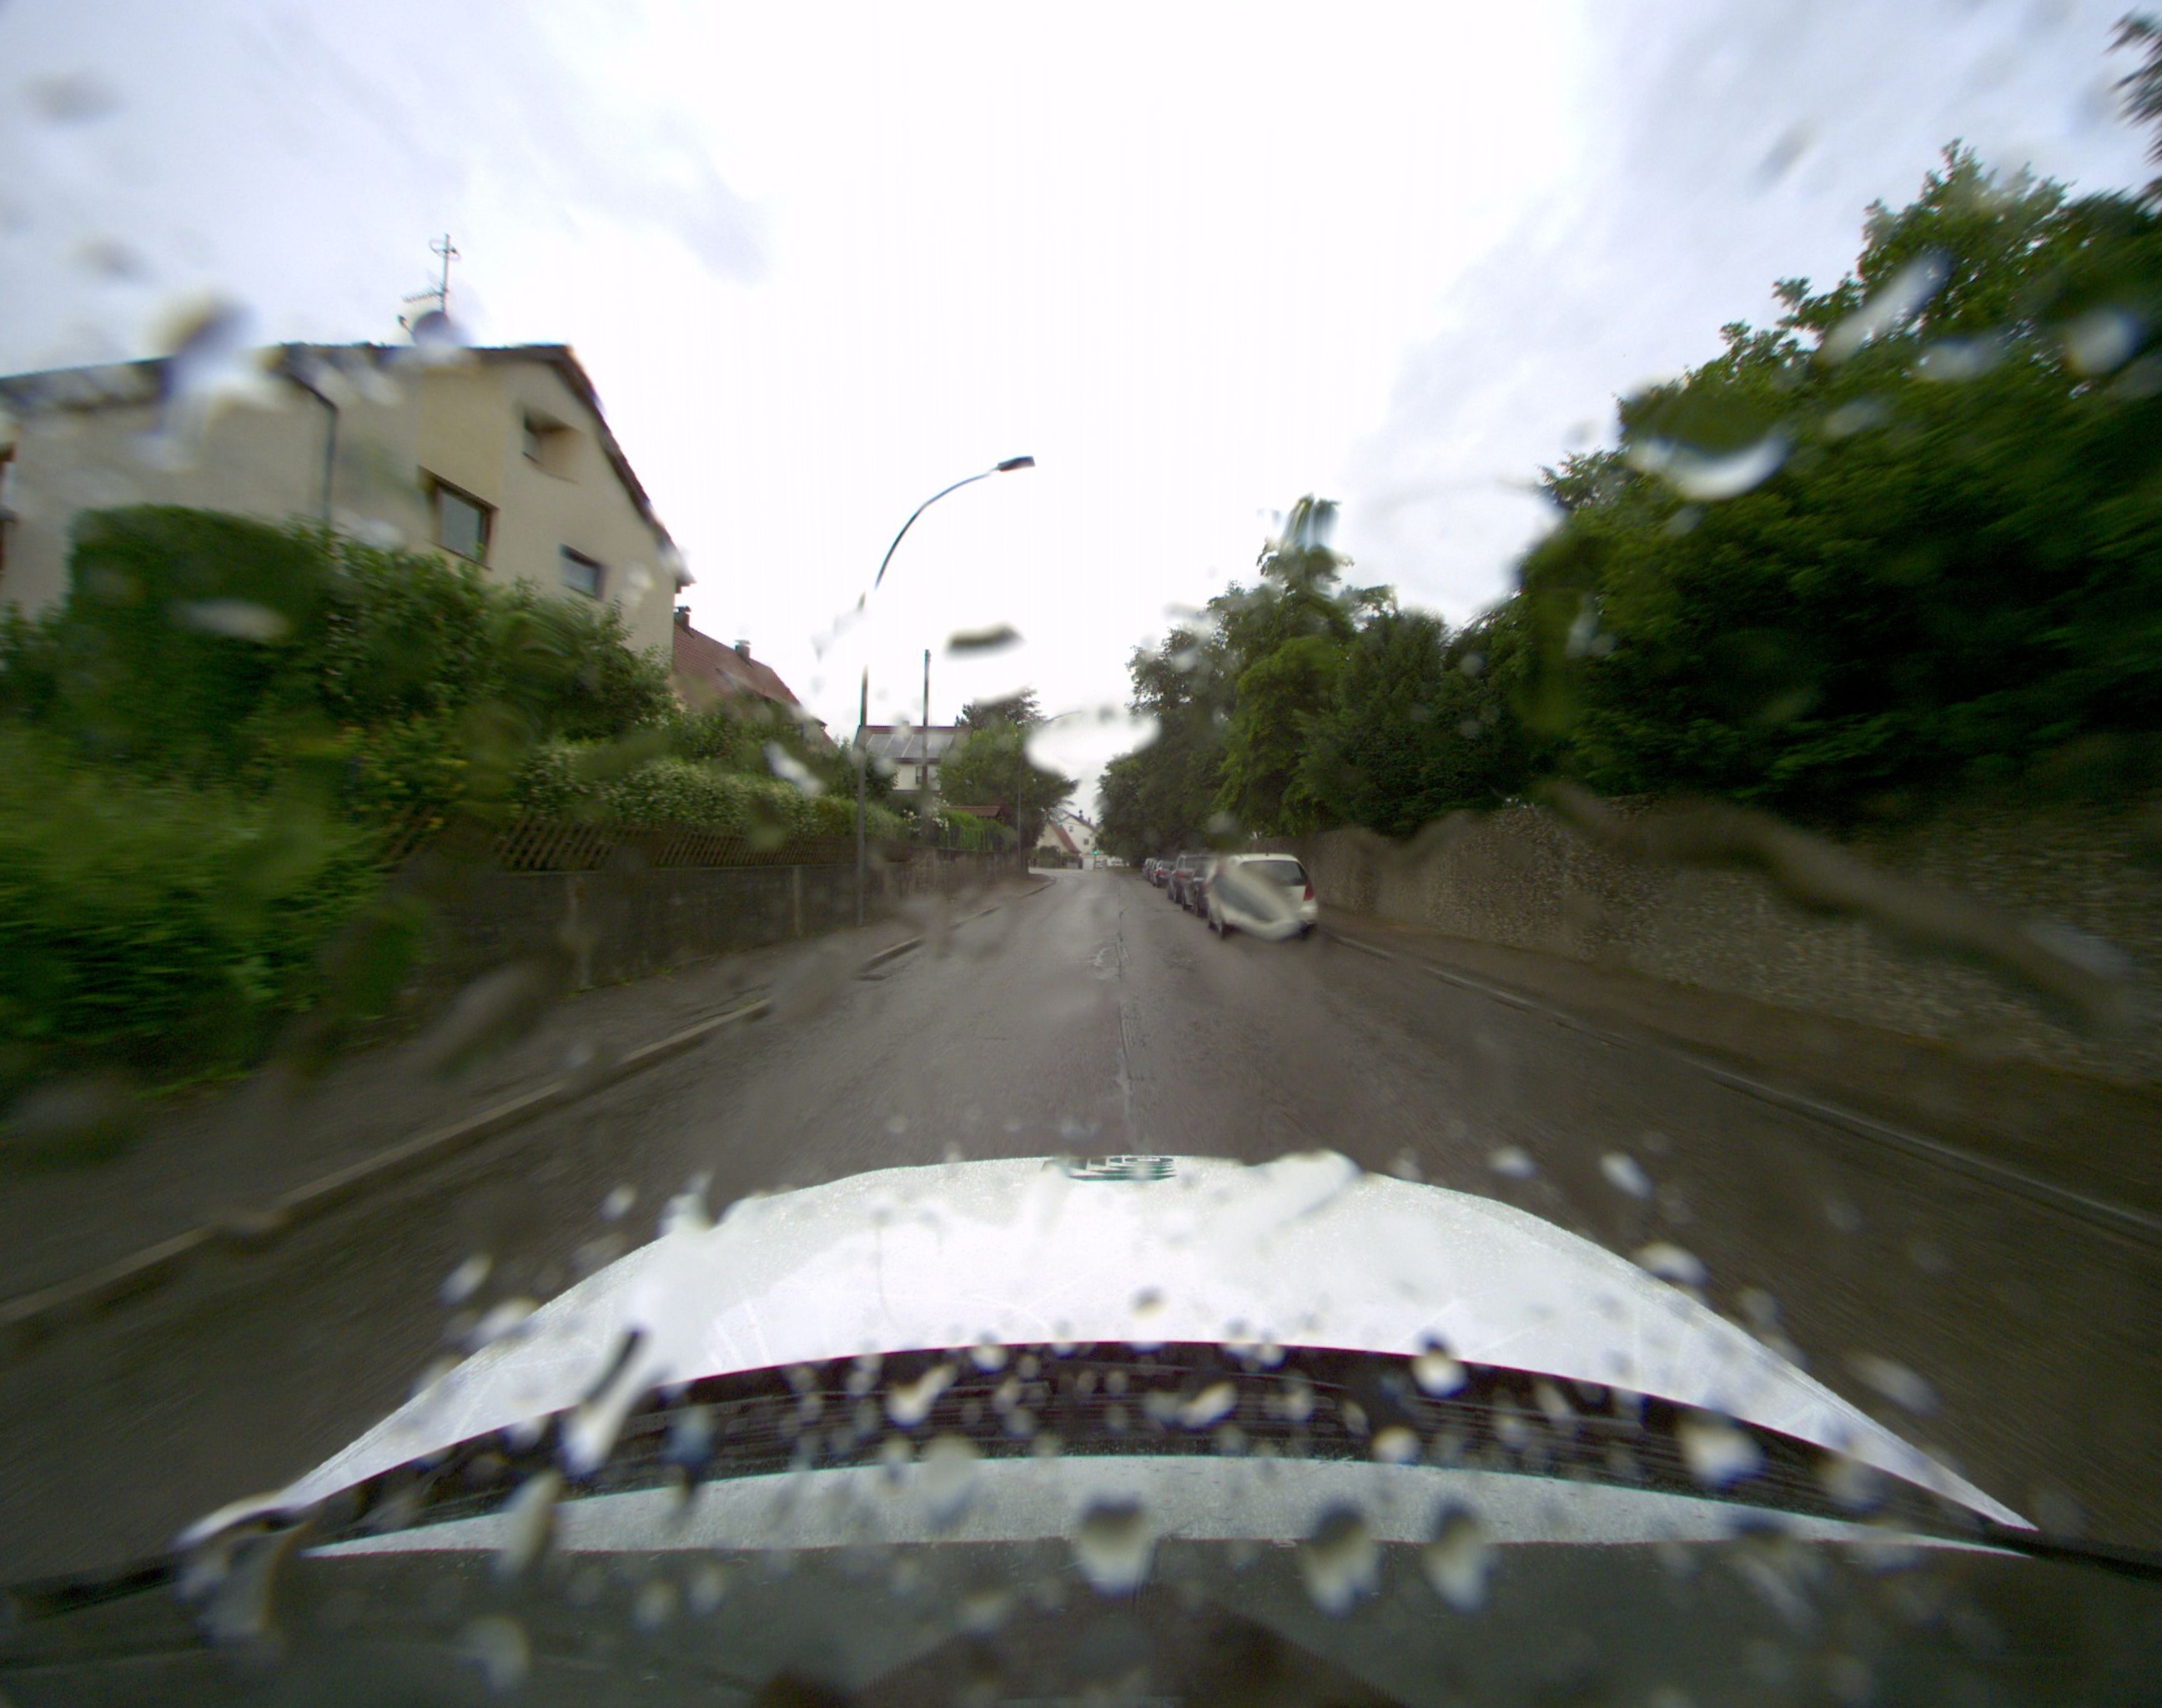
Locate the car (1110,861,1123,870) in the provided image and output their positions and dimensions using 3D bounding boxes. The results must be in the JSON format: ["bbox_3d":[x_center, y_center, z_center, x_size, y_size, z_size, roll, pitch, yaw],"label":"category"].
[{"bbox_3d":[5.773,1.937,132.768,1.897,1.442,4.006,0,0,6],"label":"car"}]

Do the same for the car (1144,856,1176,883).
[{"bbox_3d":[4.629,0.906,47.896,1.641,1.497,3.711,1,-2,2],"label":"car"}]

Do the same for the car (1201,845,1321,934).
[{"bbox_3d":[3.482,0.662,16.408,1.807,1.574,3.884,0,-1,4],"label":"car"}]

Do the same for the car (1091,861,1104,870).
[{"bbox_3d":[2.702,1.926,133.305,1.897,1.442,4.006,0,0,6],"label":"car"}]

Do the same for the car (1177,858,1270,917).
[{"bbox_3d":[3.809,0.864,22.483,1.759,1.447,4.695,0,-1,0],"label":"car"}]

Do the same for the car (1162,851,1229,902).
[{"bbox_3d":[3.949,0.775,28.756,1.736,1.668,4.497,0,-1,0],"label":"car"}]

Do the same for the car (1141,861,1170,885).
[{"bbox_3d":[4.818,1.239,52.906,1.641,1.497,4.248,1,-2,2],"label":"car"}]

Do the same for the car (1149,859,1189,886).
[{"bbox_3d":[4.561,0.936,42.465,1.646,1.371,4.181,0,0,0],"label":"car"}]
